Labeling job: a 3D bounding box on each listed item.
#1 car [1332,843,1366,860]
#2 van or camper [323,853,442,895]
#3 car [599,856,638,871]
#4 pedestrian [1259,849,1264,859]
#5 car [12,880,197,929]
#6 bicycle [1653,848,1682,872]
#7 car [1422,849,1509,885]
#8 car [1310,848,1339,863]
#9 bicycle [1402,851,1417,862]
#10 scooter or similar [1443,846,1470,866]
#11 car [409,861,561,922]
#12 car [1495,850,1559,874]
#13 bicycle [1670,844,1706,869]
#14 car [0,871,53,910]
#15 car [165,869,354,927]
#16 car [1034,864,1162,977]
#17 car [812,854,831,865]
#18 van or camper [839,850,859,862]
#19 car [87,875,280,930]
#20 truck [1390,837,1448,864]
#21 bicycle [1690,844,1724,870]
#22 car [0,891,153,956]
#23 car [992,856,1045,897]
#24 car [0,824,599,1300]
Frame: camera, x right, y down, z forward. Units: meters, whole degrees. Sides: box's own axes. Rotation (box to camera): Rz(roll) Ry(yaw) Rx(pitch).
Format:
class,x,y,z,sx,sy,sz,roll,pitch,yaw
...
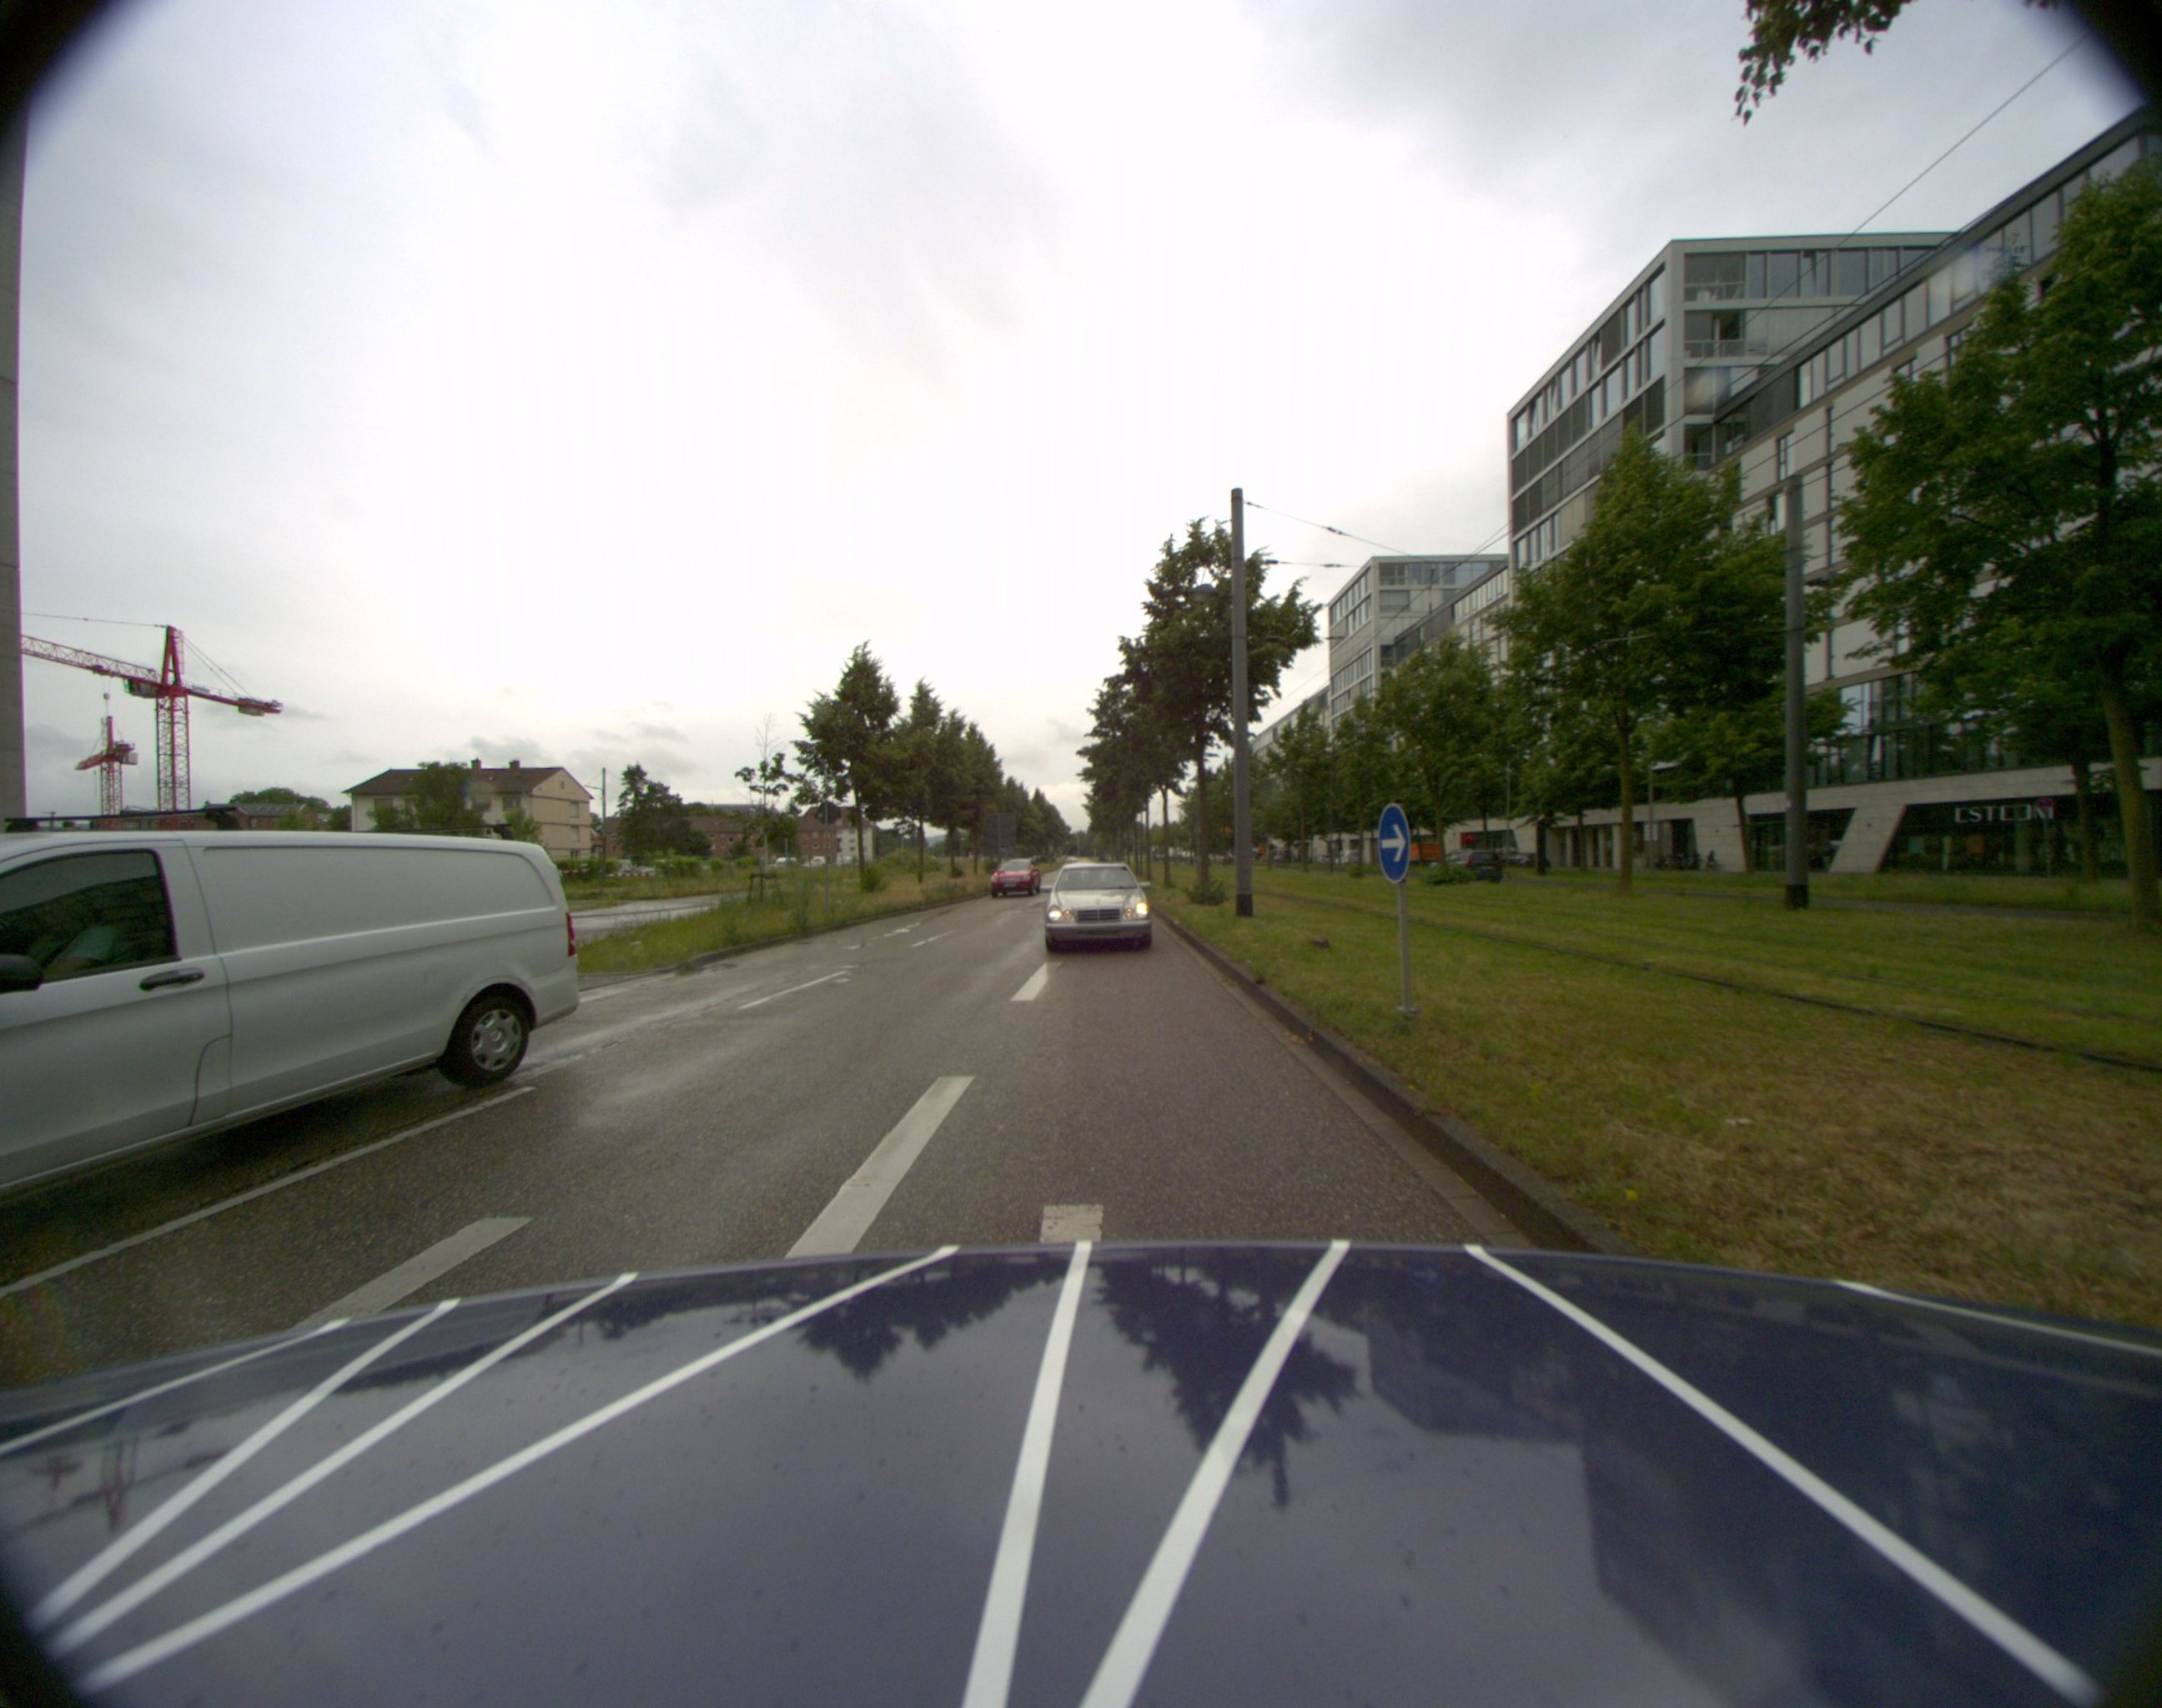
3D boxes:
class,x,y,z,sx,sy,sz,roll,pitch,yaw
car,29.877,-0.259,84.920,1.998,1.841,5.164,-1,0,0
van or camper,-54.449,1.472,59.491,2.914,2.976,6.777,-1,0,1
car,-61.248,1.229,100.697,2.168,1.883,5.204,-1,0,-3
pedestrian,31.148,0.046,131.287,0.712,1.681,0.793,-2,1,3
car,-37.936,1.913,29.686,1.859,1.592,4.002,-1,0,6
bicycle,38.715,0.390,50.158,1.435,1.474,0.546,-2,1,0
car,17.740,0.563,35.303,1.867,1.515,4.479,-1,0,1
car,29.874,0.178,93.419,2.150,1.702,4.463,-1,0,0
bicycle,27.821,0.216,64.412,0.600,0.939,1.757,-1,0,4
scooter or similar,36.810,0.192,74.502,2.130,1.814,0.885,-2,1,-3
car,-21.283,1.277,27.360,1.858,1.573,3.999,-2,5,8
car,29.280,0.483,50.012,1.859,1.456,3.988,-1,0,0
bicycle,38.592,0.178,48.342,1.707,1.529,0.681,-2,1,0
car,-53.112,1.881,36.449,1.699,1.703,4.032,-1,4,9
car,-30.277,1.560,28.258,1.859,1.593,4.414,-1,4,6
car,0.247,0.961,12.907,1.738,1.451,4.607,-2,0,0
car,-52.229,1.133,153.199,2.278,2.207,4.758,-2,0,-3
van or camper,-45.416,0.335,148.799,2.208,2.294,6.147,-3,0,-2
car,-32.939,1.727,28.102,1.789,1.467,4.229,-1,4,6
truck,30.205,-0.288,68.114,2.432,2.278,6.308,-1,0,1
bicycle,38.843,0.172,47.127,1.571,1.529,0.607,-2,1,0
car,-25.849,1.679,18.583,4.227,1.429,1.982,-2,-1,6
car,-2.662,0.929,33.441,1.799,1.603,4.246,-2,0,2
car,-5.404,0.876,4.146,1.972,1.968,5.093,-1,0,4
